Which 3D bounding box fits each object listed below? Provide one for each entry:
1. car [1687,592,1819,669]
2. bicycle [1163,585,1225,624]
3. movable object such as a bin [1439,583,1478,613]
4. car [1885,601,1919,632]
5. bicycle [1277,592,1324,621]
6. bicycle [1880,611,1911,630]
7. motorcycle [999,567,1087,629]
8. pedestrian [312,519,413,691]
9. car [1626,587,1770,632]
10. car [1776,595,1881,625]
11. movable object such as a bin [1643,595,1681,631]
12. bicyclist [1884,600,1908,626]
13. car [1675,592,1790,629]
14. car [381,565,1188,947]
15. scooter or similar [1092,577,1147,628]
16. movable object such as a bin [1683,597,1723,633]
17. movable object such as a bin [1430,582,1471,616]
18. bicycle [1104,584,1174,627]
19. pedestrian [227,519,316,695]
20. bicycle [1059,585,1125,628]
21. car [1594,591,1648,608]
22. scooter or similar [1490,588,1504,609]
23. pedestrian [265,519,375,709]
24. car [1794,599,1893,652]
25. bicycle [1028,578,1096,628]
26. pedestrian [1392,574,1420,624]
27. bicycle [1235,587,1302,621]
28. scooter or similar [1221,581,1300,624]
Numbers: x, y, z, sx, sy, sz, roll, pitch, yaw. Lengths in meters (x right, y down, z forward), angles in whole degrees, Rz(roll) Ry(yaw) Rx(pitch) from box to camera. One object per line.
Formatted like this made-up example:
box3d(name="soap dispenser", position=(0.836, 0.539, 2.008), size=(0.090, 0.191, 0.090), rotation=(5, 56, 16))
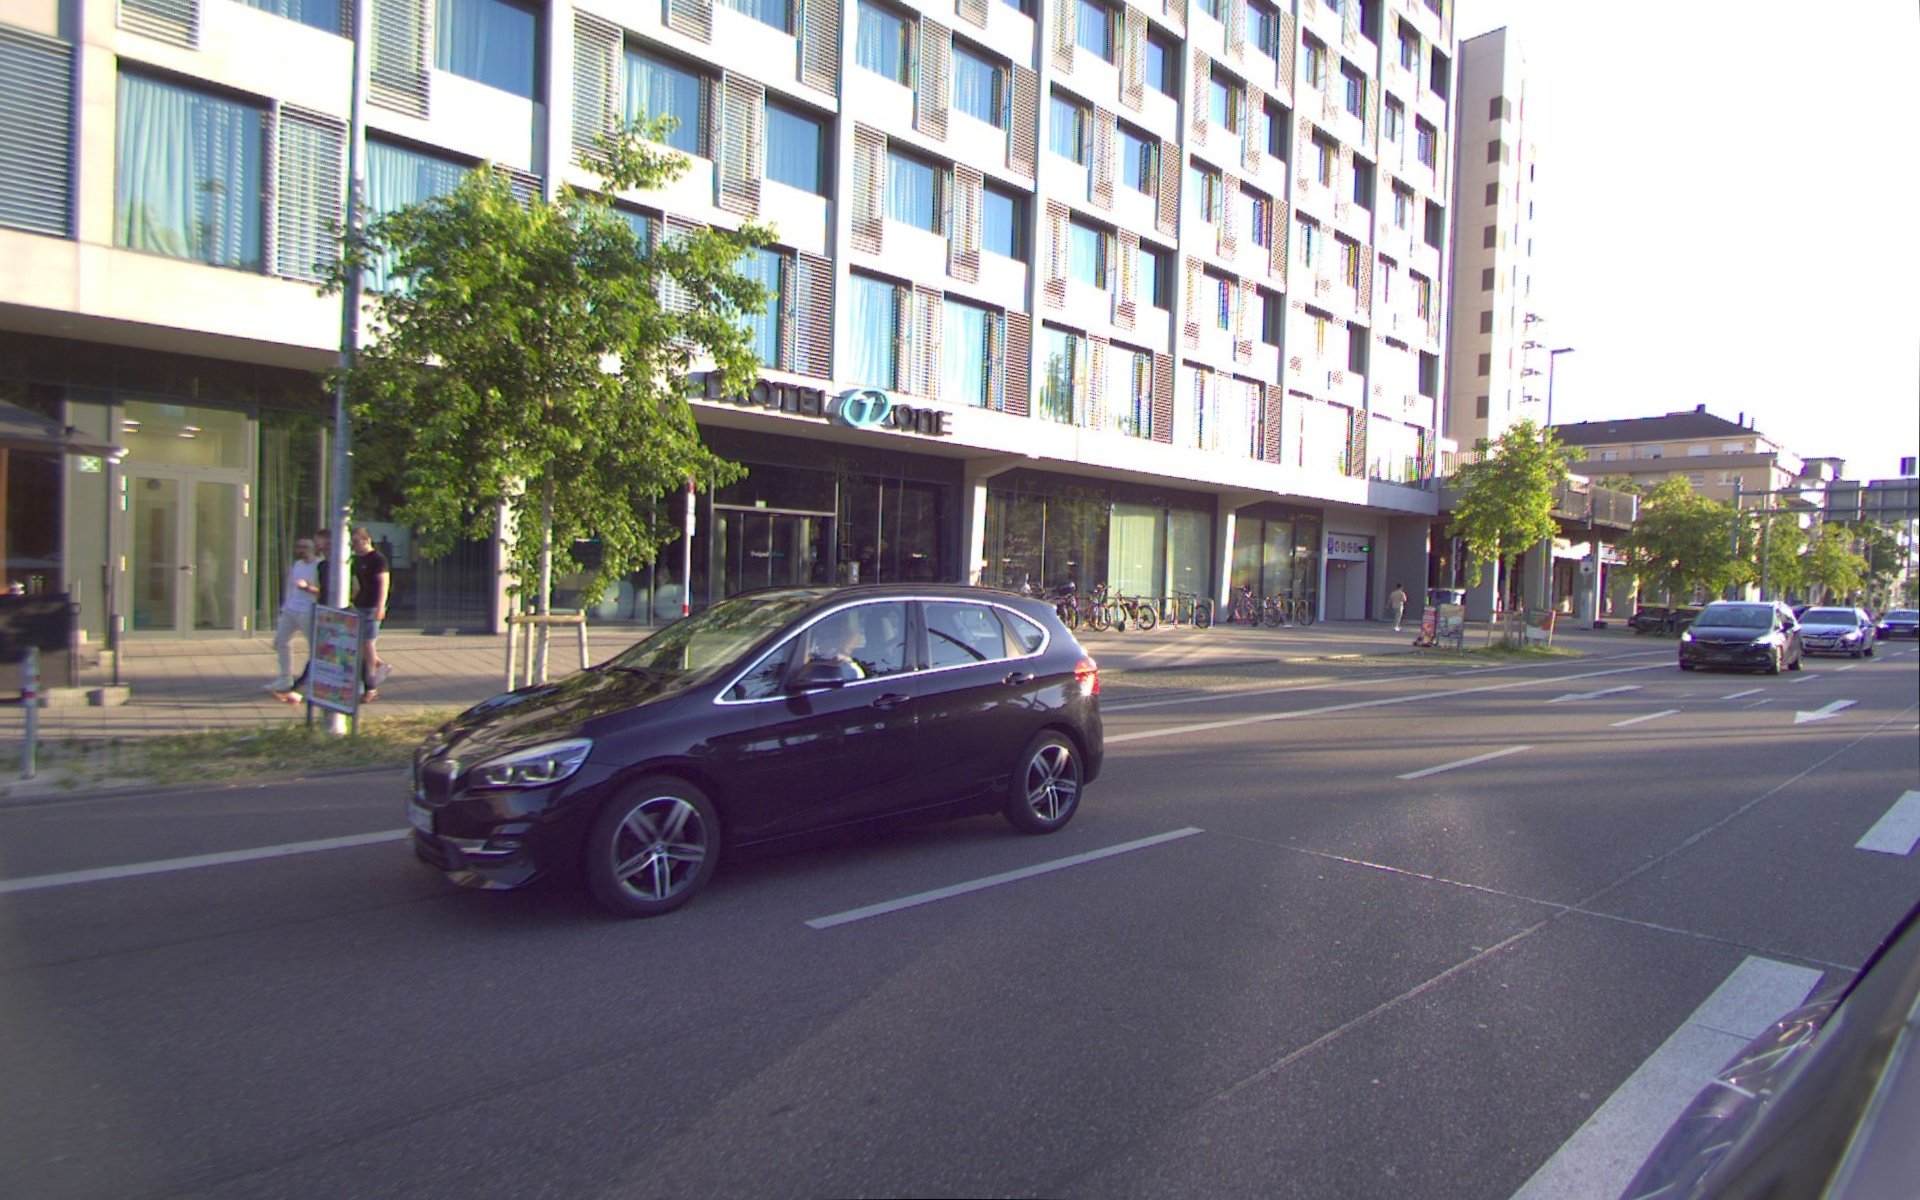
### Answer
box3d(name="car", position=(18.551, 0.648, 23.603), size=(4.294, 1.619, 1.824), rotation=(1, 0, -44))
box3d(name="bicycle", position=(6.824, 0.116, 29.588), size=(0.542, 0.998, 1.701), rotation=(1, 3, -44))
box3d(name="movable object such as a bin", position=(22.949, -0.097, 46.600), size=(1.283, 1.315, 1.183), rotation=(1, 2, -43))
box3d(name="car", position=(44.815, 0.756, 47.254), size=(4.201, 1.413, 1.914), rotation=(1, 0, -40))
box3d(name="bicycle", position=(11.441, 0.205, 34.053), size=(0.449, 0.902, 1.424), rotation=(1, 2, -42))
box3d(name="bicycle", position=(66.591, 1.472, 72.042), size=(0.810, 1.187, 2.135), rotation=(3, 2, 20))
box3d(name="motorcycle", position=(2.068, -0.064, 25.376), size=(2.105, 1.403, 0.663), rotation=(5, 2, 35))
box3d(name="pedestrian", position=(-6.748, 0.041, 11.433), size=(0.922, 1.846, 0.759), rotation=(1, 3, -33))
box3d(name="car", position=(32.262, 0.385, 44.379), size=(4.593, 1.526, 1.935), rotation=(4, 3, 9))
box3d(name="car", position=(53.743, 0.621, 62.701), size=(4.529, 1.471, 1.811), rotation=(4, 2, 8))
box3d(name="movable object such as a bin", position=(28.570, 0.513, 41.203), size=(1.014, 1.363, 1.143), rotation=(6, 4, 43))
box3d(name="bicyclist", position=(66.619, 0.914, 72.043), size=(0.810, 1.713, 0.955), rotation=(3, 2, 20))
box3d(name="car", position=(37.103, 0.466, 48.695), size=(3.928, 1.433, 1.747), rotation=(4, 3, 11))
box3d(name="car", position=(-0.754, 0.627, 6.313), size=(4.707, 1.538, 1.824), rotation=(0, 0, -41))
box3d(name="scooter or similar", position=(4.175, 0.055, 26.556), size=(1.269, 1.248, 0.599), rotation=(5, 3, 45))
box3d(name="movable object such as a bin", position=(29.538, 0.587, 40.248), size=(1.084, 1.317, 1.340), rotation=(6, 4, 42))
box3d(name="movable object such as a bin", position=(20.709, -0.031, 42.690), size=(1.261, 1.346, 1.107), rotation=(1, 3, -43))
box3d(name="bicycle", position=(4.895, 0.138, 27.755), size=(0.556, 1.022, 1.888), rotation=(0, 4, -43))
box3d(name="pedestrian", position=(-7.498, 0.058, 11.048), size=(0.762, 1.833, 0.622), rotation=(1, 4, -33))
box3d(name="bicycle", position=(3.436, 0.151, 26.447), size=(0.542, 0.998, 1.701), rotation=(1, 3, -44))
box3d(name="car", position=(65.658, -0.073, 100.571), size=(4.216, 1.457, 1.631), rotation=(3, 5, 44))
box3d(name="scooter or similar", position=(30.066, -0.096, 56.640), size=(0.400, 1.176, 1.805), rotation=(0, -1, 38))
box3d(name="pedestrian", position=(-6.699, 0.122, 10.606), size=(0.922, 1.871, 0.747), rotation=(1, 4, -33))
box3d(name="car", position=(26.818, 0.733, 30.686), size=(4.230, 1.482, 1.830), rotation=(1, 0, -43))
box3d(name="bicycle", position=(2.624, 0.066, 26.016), size=(1.603, 1.168, 0.604), rotation=(5, 3, 36))
box3d(name="pedestrian", position=(15.098, -0.026, 34.260), size=(0.632, 1.638, 0.577), rotation=(1, 3, -45))
box3d(name="bicycle", position=(10.142, 0.128, 33.341), size=(2.015, 0.969, 0.611), rotation=(5, 3, 43))
box3d(name="scooter or similar", position=(9.417, 0.060, 31.806), size=(0.610, 1.197, 2.377), rotation=(1, 3, -42))
